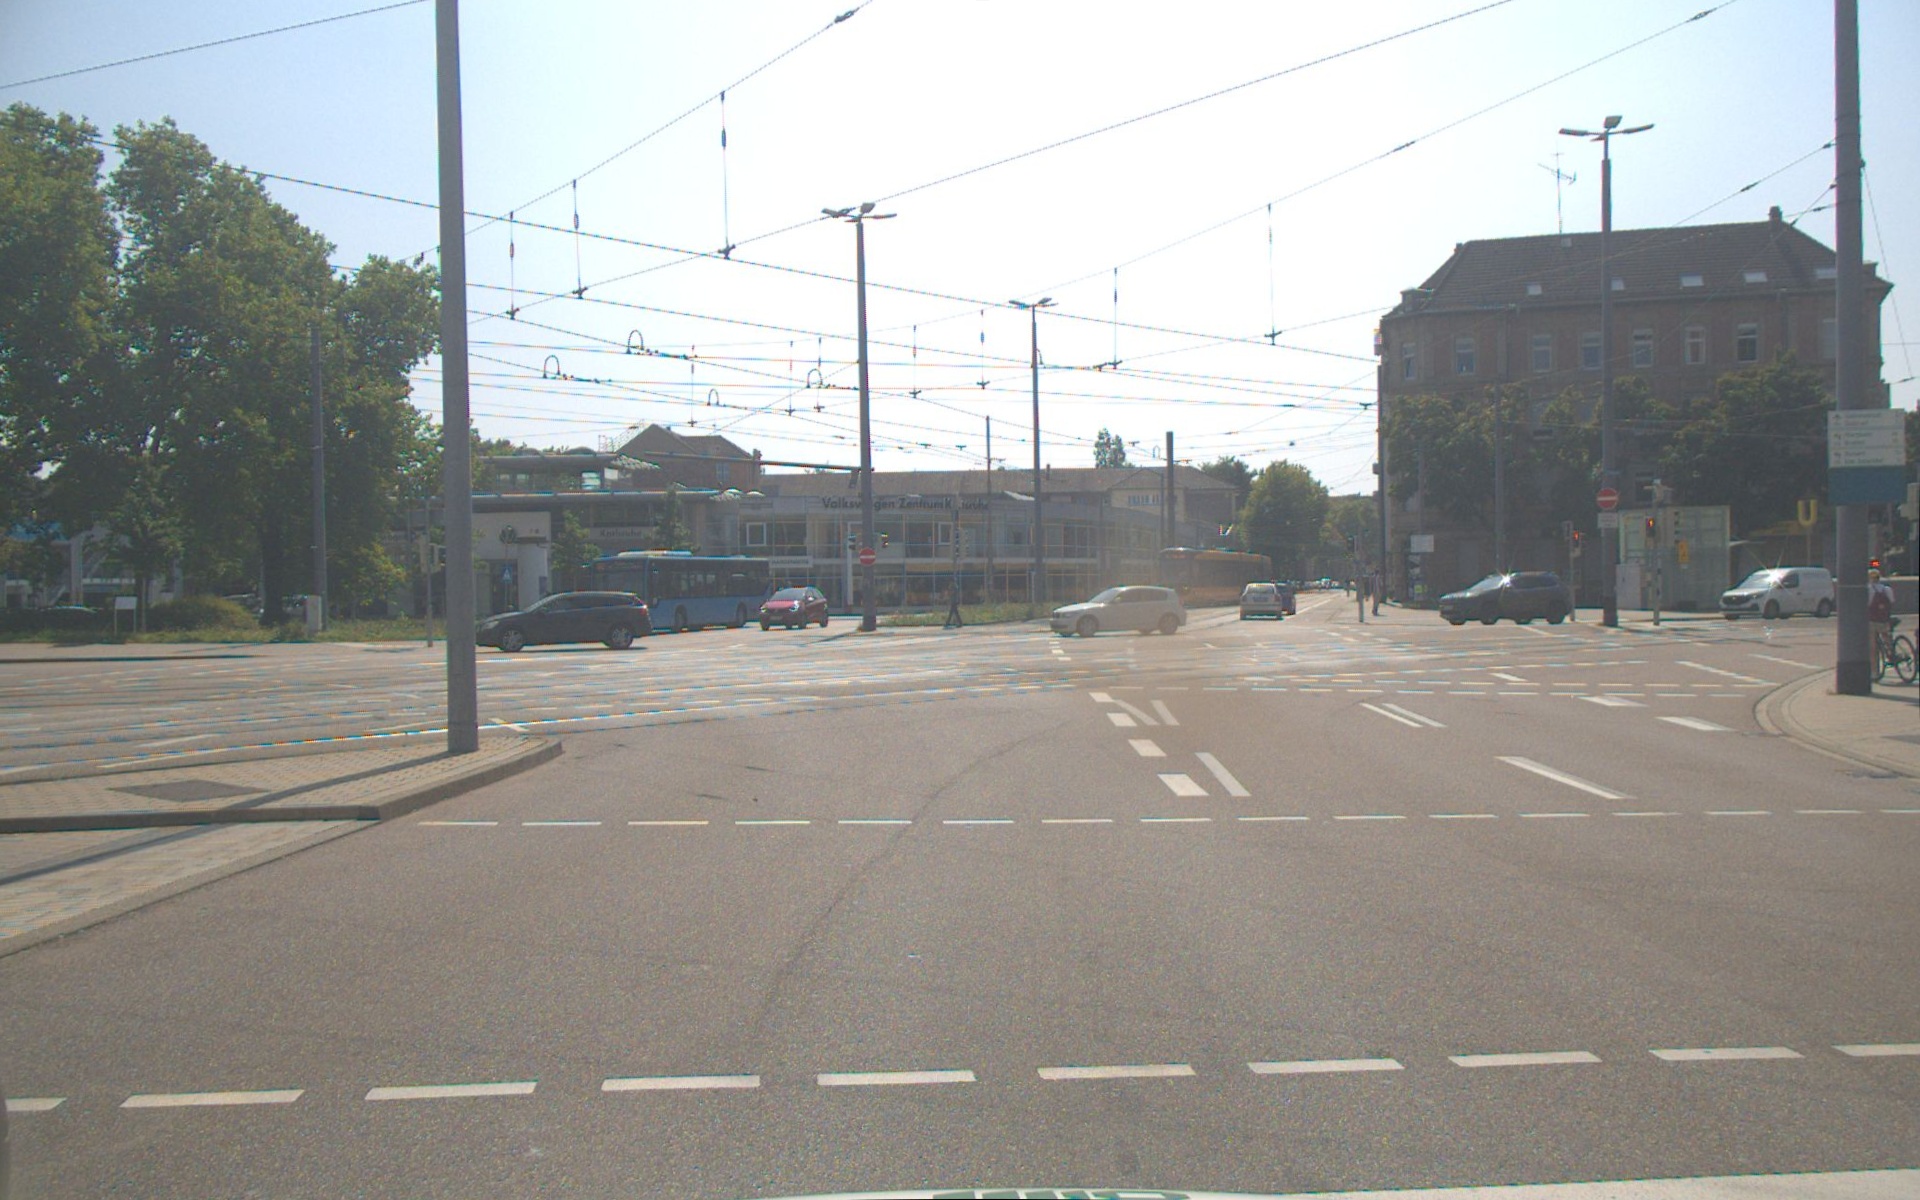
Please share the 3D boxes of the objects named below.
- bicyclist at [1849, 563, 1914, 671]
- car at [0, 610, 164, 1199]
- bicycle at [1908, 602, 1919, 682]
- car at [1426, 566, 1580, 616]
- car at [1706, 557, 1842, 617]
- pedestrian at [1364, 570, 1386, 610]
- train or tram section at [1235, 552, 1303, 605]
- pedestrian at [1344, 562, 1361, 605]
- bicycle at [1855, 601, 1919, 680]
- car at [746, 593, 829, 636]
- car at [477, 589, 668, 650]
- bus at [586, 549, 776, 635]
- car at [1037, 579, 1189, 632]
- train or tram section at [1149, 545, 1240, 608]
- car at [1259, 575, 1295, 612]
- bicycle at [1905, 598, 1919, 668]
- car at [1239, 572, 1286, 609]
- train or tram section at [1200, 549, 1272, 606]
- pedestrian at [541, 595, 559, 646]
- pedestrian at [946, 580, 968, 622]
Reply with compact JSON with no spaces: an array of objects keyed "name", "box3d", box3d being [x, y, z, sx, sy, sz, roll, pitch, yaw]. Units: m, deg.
[{"name":"bicyclist","box3d":[13.447,0.248,24.149,0.614,1.544,0.712,-1,0,12]},{"name":"car","box3d":[-2.517,0.729,1.346,1.728,1.412,3.783,1,0,3]},{"name":"bicycle","box3d":[13.107,0.562,21.625,0.481,1.073,1.824,-1,0,4]},{"name":"car","box3d":[17.693,-0.294,53.909,4.545,1.531,1.987,-1,0,-21]},{"name":"car","box3d":[28.894,-0.467,58.698,4.554,2.049,1.983,-1,0,-26]},{"name":"pedestrian","box3d":[17.197,-0.425,68.530,0.686,1.631,0.572,-1,0,-8]},{"name":"train or tram section","box3d":[22.446,-1.549,119.685,2.535,3.578,12.974,-1,0,21]},{"name":"pedestrian","box3d":[27.770,-1.168,116.995,0.963,3.070,0.975,-1,0,5]},{"name":"bicycle","box3d":[13.446,0.565,23.808,0.525,1.073,1.655,-1,0,12]},{"name":"car","box3d":[-6.548,0.532,63.239,1.713,1.579,4.002,-1,0,17]},{"name":"car","box3d":[-10.127,0.481,43.216,4.684,1.440,1.765,-1,0,-20]},{"name":"bus","box3d":[-10.897,-0.336,66.450,2.508,3.136,12.031,-1,0,16]},{"name":"car","box3d":[4.500,0.137,48.697,4.126,1.440,1.766,-1,0,-20]},{"name":"train or tram section","box3d":[14.242,-1.376,99.676,2.536,3.578,10.893,-1,0,24]},{"name":"car","box3d":[14.676,-0.324,76.466,1.601,1.646,4.004,-1,0,11]},{"name":"bicycle","box3d":[15.109,0.518,25.401,0.525,1.073,1.655,-1,0,12]},{"name":"car","box3d":[12.522,-0.397,68.369,1.732,1.440,4.192,-1,0,13]},{"name":"train or tram section","box3d":[18.281,-1.458,109.157,2.535,3.578,9.657,-1,0,22]},{"name":"pedestrian","box3d":[-13.825,0.691,55.777,0.544,1.713,0.452,-1,0,-19]},{"name":"pedestrian","box3d":[-0.108,0.039,58.989,0.666,1.468,0.364,-1,0,-18]}]
